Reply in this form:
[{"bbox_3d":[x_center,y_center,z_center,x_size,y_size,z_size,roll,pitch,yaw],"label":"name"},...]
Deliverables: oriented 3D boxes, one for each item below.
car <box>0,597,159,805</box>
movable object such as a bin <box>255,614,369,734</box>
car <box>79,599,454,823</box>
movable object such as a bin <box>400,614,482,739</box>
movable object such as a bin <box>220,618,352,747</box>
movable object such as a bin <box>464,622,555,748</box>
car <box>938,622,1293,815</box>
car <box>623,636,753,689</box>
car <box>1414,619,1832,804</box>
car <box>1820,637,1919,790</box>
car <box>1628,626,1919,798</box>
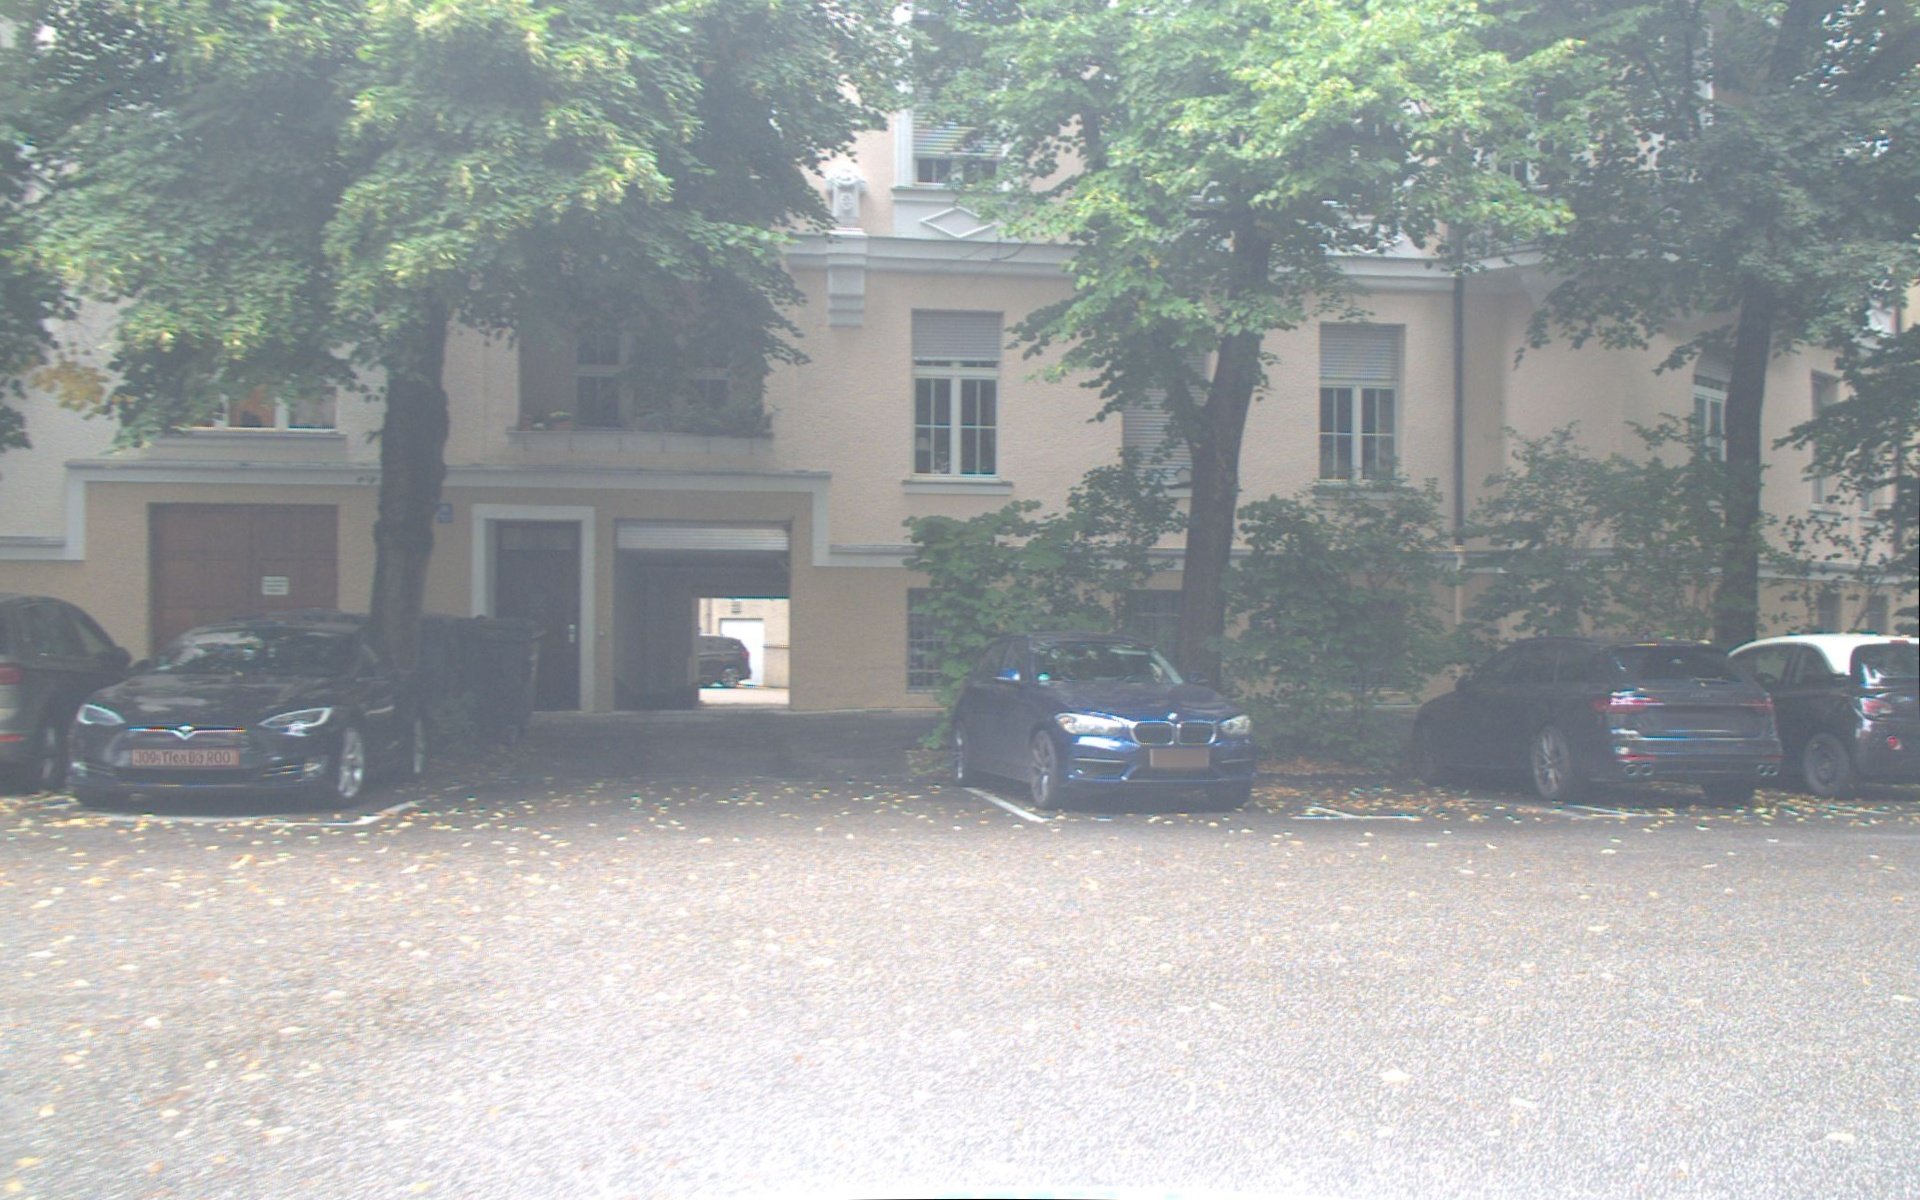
[{"bbox_3d":[-8.302,0.767,14.178,1.808,1.557,4.008,1,-1,-15],"label":"car"},{"bbox_3d":[-7.688,0.868,19.672,1.098,1.372,0.862,1,0,-12],"label":"movable object such as a bin"},{"bbox_3d":[-5.395,0.863,13.481,1.672,1.493,4.280,2,-3,-7],"label":"car"},{"bbox_3d":[-5.928,0.849,18.938,0.700,1.371,1.370,1,-1,-10],"label":"movable object such as a bin"},{"bbox_3d":[-7.481,0.902,18.420,1.129,1.372,1.153,1,0,-12],"label":"movable object such as a bin"},{"bbox_3d":[-5.069,0.935,18.686,0.847,1.328,1.428,2,-1,-12],"label":"movable object such as a bin"},{"bbox_3d":[1.156,0.926,14.455,1.807,1.407,4.327,0,-2,-13],"label":"car"},{"bbox_3d":[-8.377,1.918,50.867,3.781,1.545,1.650,1,-1,-15],"label":"car"},{"bbox_3d":[5.830,0.982,15.176,1.822,1.450,4.157,0,-3,-6],"label":"car"},{"bbox_3d":[10.631,1.093,16.112,1.764,1.540,4.275,0,-4,-9],"label":"car"},{"bbox_3d":[8.322,1.090,16.020,1.793,1.451,3.742,0,-4,-8],"label":"car"}]
